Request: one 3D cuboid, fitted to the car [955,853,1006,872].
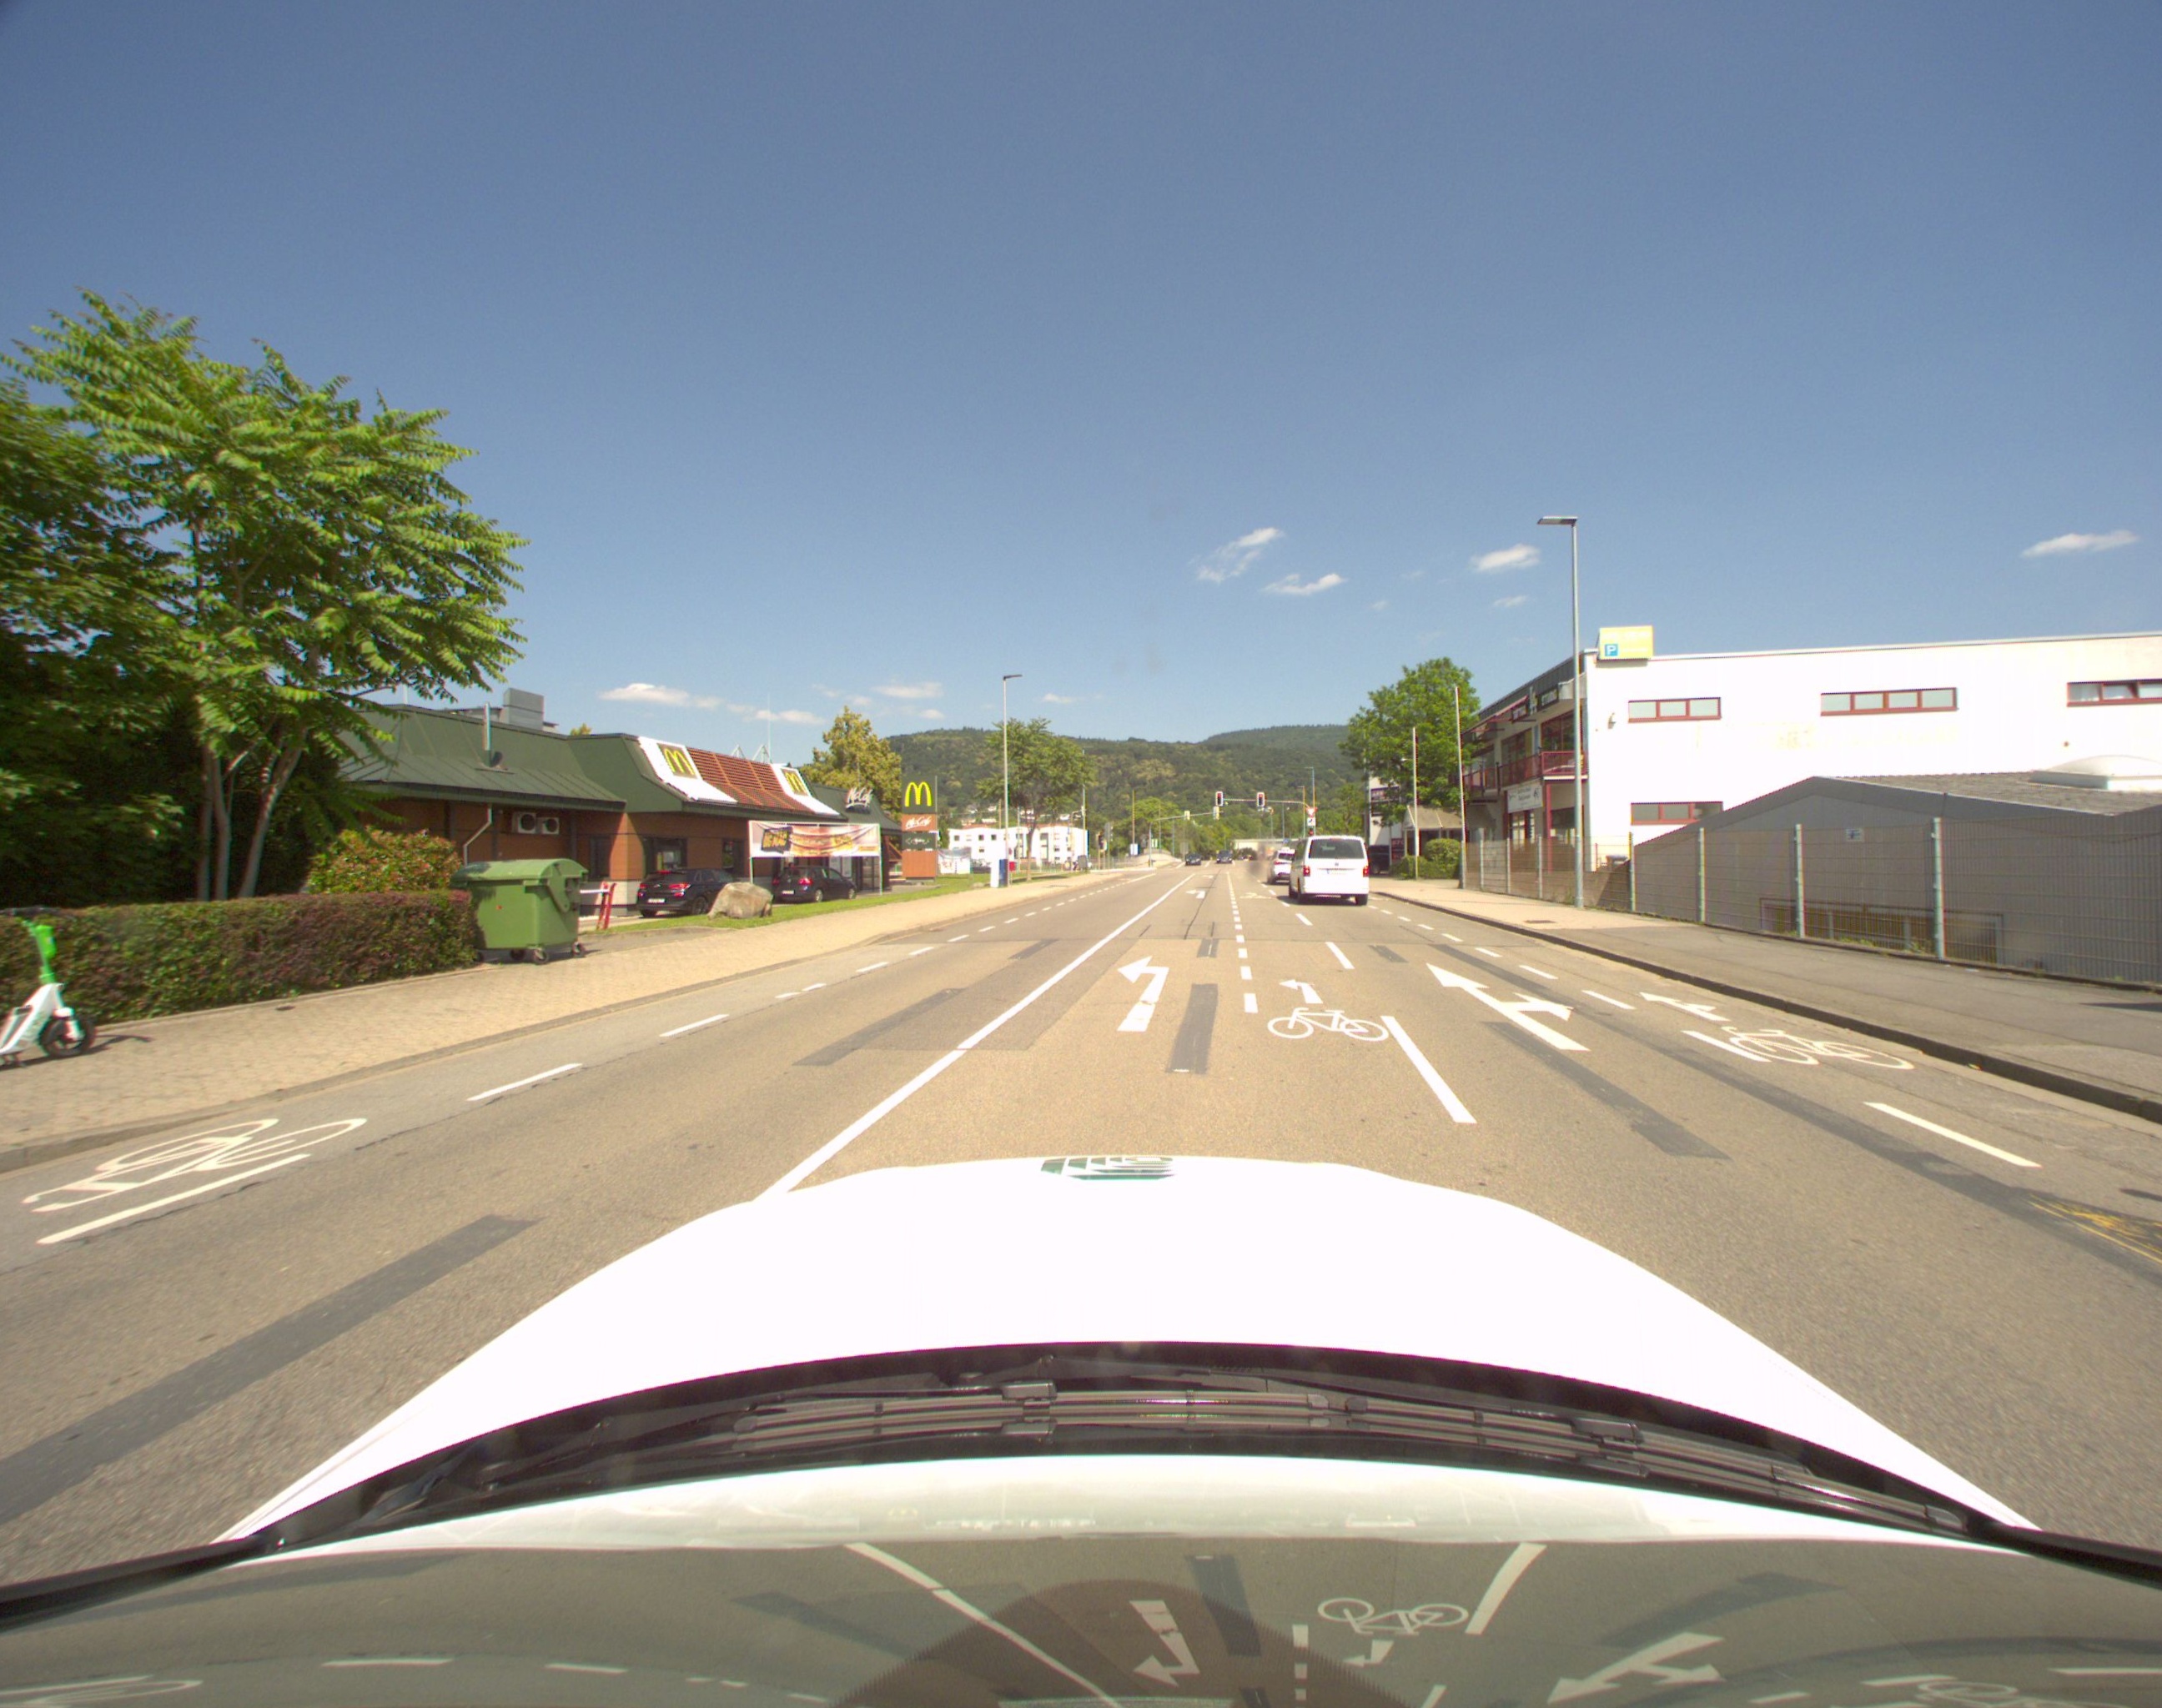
[{"bbox_3d":[-8.938,0.720,72.260,4.320,1.592,1.991,-1,0,-14],"label":"car"}]

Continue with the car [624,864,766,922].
[{"bbox_3d":[-11.668,1.116,24.993,1.817,1.476,4.331,1,1,8],"label":"car"}]

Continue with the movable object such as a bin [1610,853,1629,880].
[{"bbox_3d":[20.302,0.468,30.694,0.409,1.012,0.546,-2,0,12],"label":"movable object such as a bin"}]

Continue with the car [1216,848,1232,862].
[{"bbox_3d":[17.501,0.144,99.454,1.838,1.588,4.012,-1,0,10],"label":"car"}]

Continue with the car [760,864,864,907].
[{"bbox_3d":[-10.373,1.165,31.753,1.980,1.416,4.143,1,1,12],"label":"car"}]

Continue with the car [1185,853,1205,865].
[{"bbox_3d":[13.311,0.570,94.941,1.980,1.370,4.340,-1,0,11],"label":"car"}]

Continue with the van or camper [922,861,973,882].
[{"bbox_3d":[-10.906,1.413,66.779,3.985,1.574,1.994,1,1,-9],"label":"van or camper"}]

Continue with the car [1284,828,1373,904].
[{"bbox_3d":[7.326,0.316,24.511,1.923,2.059,4.556,-1,0,9],"label":"car"}]

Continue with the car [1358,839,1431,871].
[{"bbox_3d":[18.828,0.047,49.090,3.956,1.775,2.009,-1,0,16],"label":"car"}]

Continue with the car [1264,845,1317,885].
[{"bbox_3d":[9.605,0.471,37.719,1.923,1.686,4.555,1,0,9],"label":"car"}]

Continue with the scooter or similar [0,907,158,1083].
[{"bbox_3d":[-7.778,1.009,5.720,0.644,1.127,1.625,2,1,4],"label":"scooter or similar"}]

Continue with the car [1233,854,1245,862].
[{"bbox_3d":[32.409,0.779,167.191,1.983,1.530,4.052,2,1,7],"label":"car"}]

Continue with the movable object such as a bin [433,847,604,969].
[{"bbox_3d":[-7.882,0.713,11.500,1.443,1.590,1.308,-1,0,1],"label":"movable object such as a bin"}]
